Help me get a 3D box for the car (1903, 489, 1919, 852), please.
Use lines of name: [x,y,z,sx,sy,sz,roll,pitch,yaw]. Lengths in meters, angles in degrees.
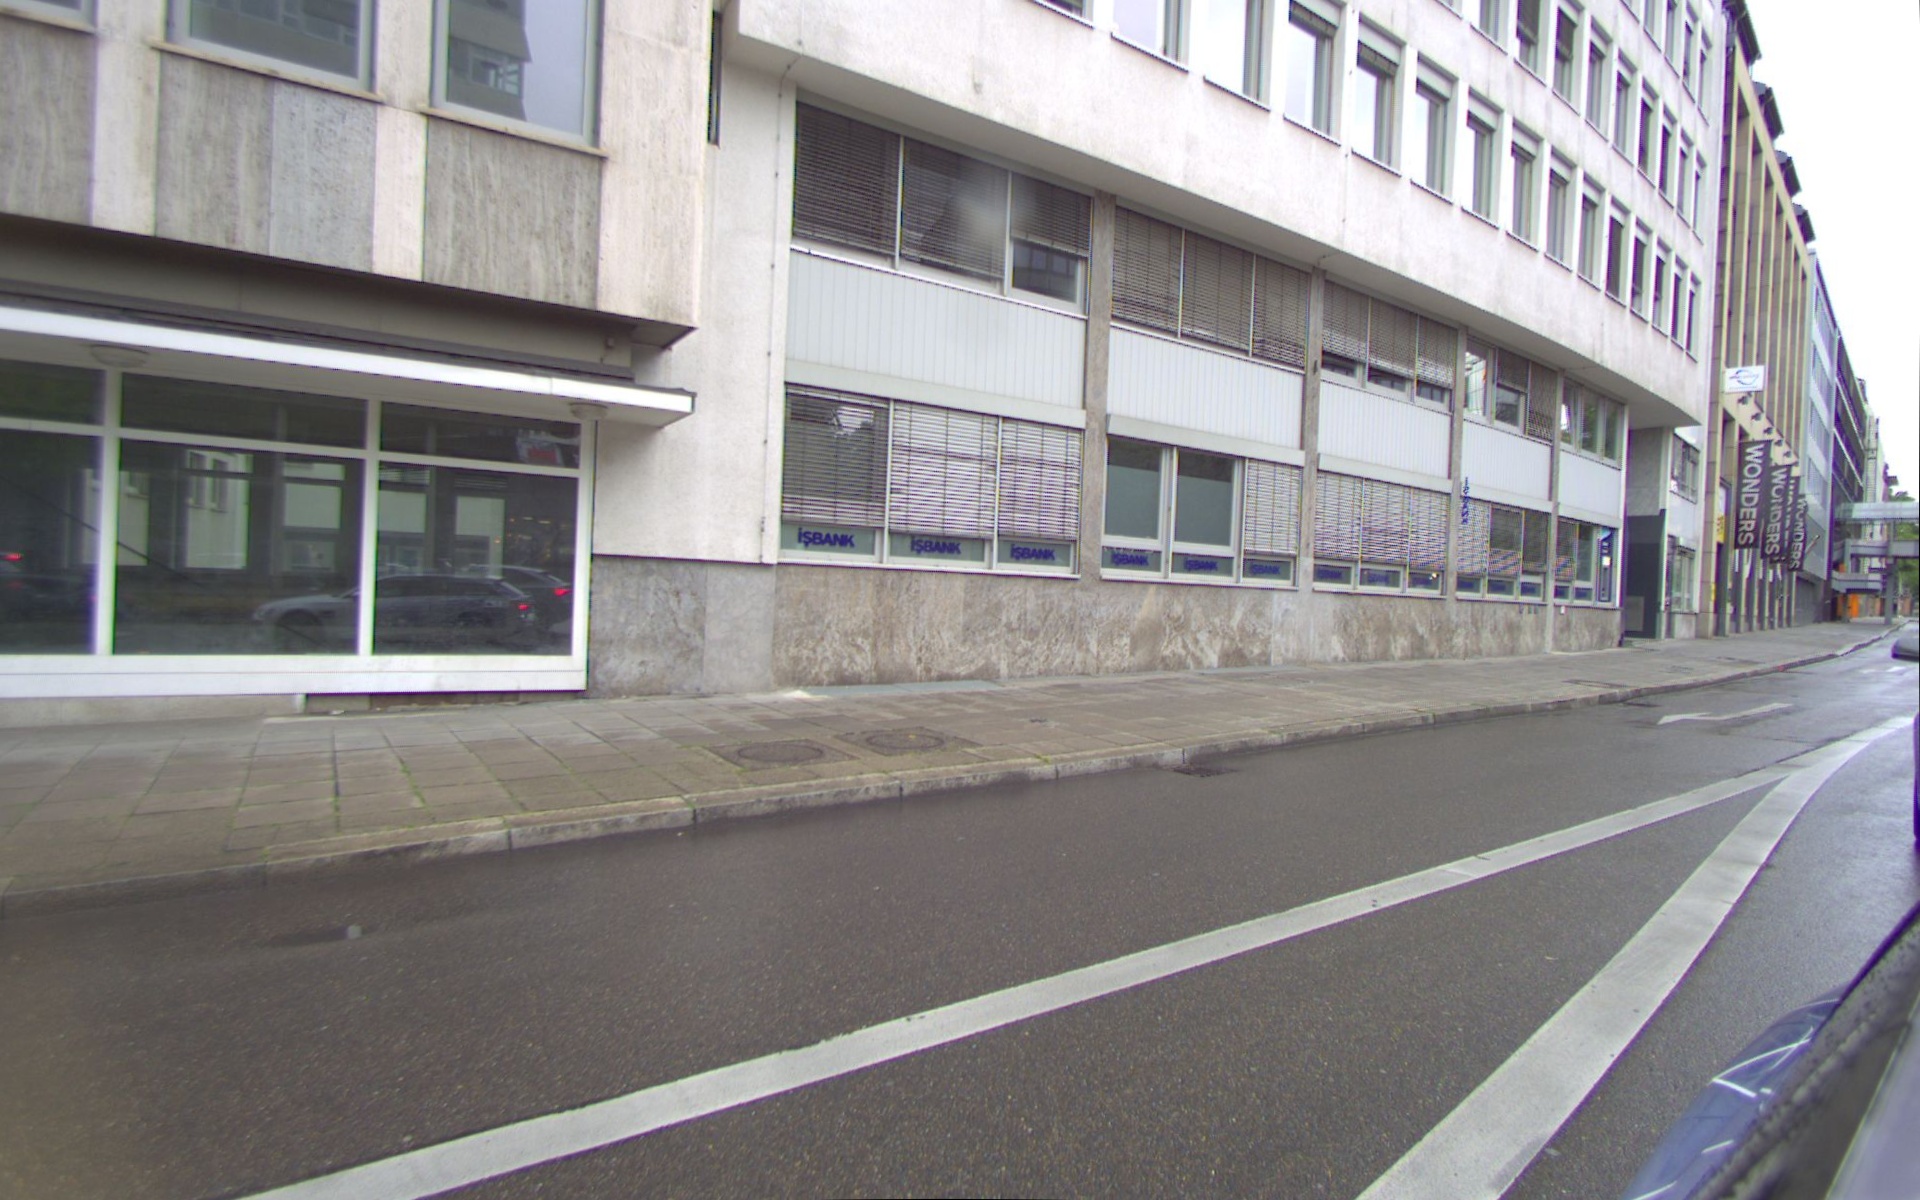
car: [7.883,0.425,6.764,2.158,2.051,4.960,1,0,45]
